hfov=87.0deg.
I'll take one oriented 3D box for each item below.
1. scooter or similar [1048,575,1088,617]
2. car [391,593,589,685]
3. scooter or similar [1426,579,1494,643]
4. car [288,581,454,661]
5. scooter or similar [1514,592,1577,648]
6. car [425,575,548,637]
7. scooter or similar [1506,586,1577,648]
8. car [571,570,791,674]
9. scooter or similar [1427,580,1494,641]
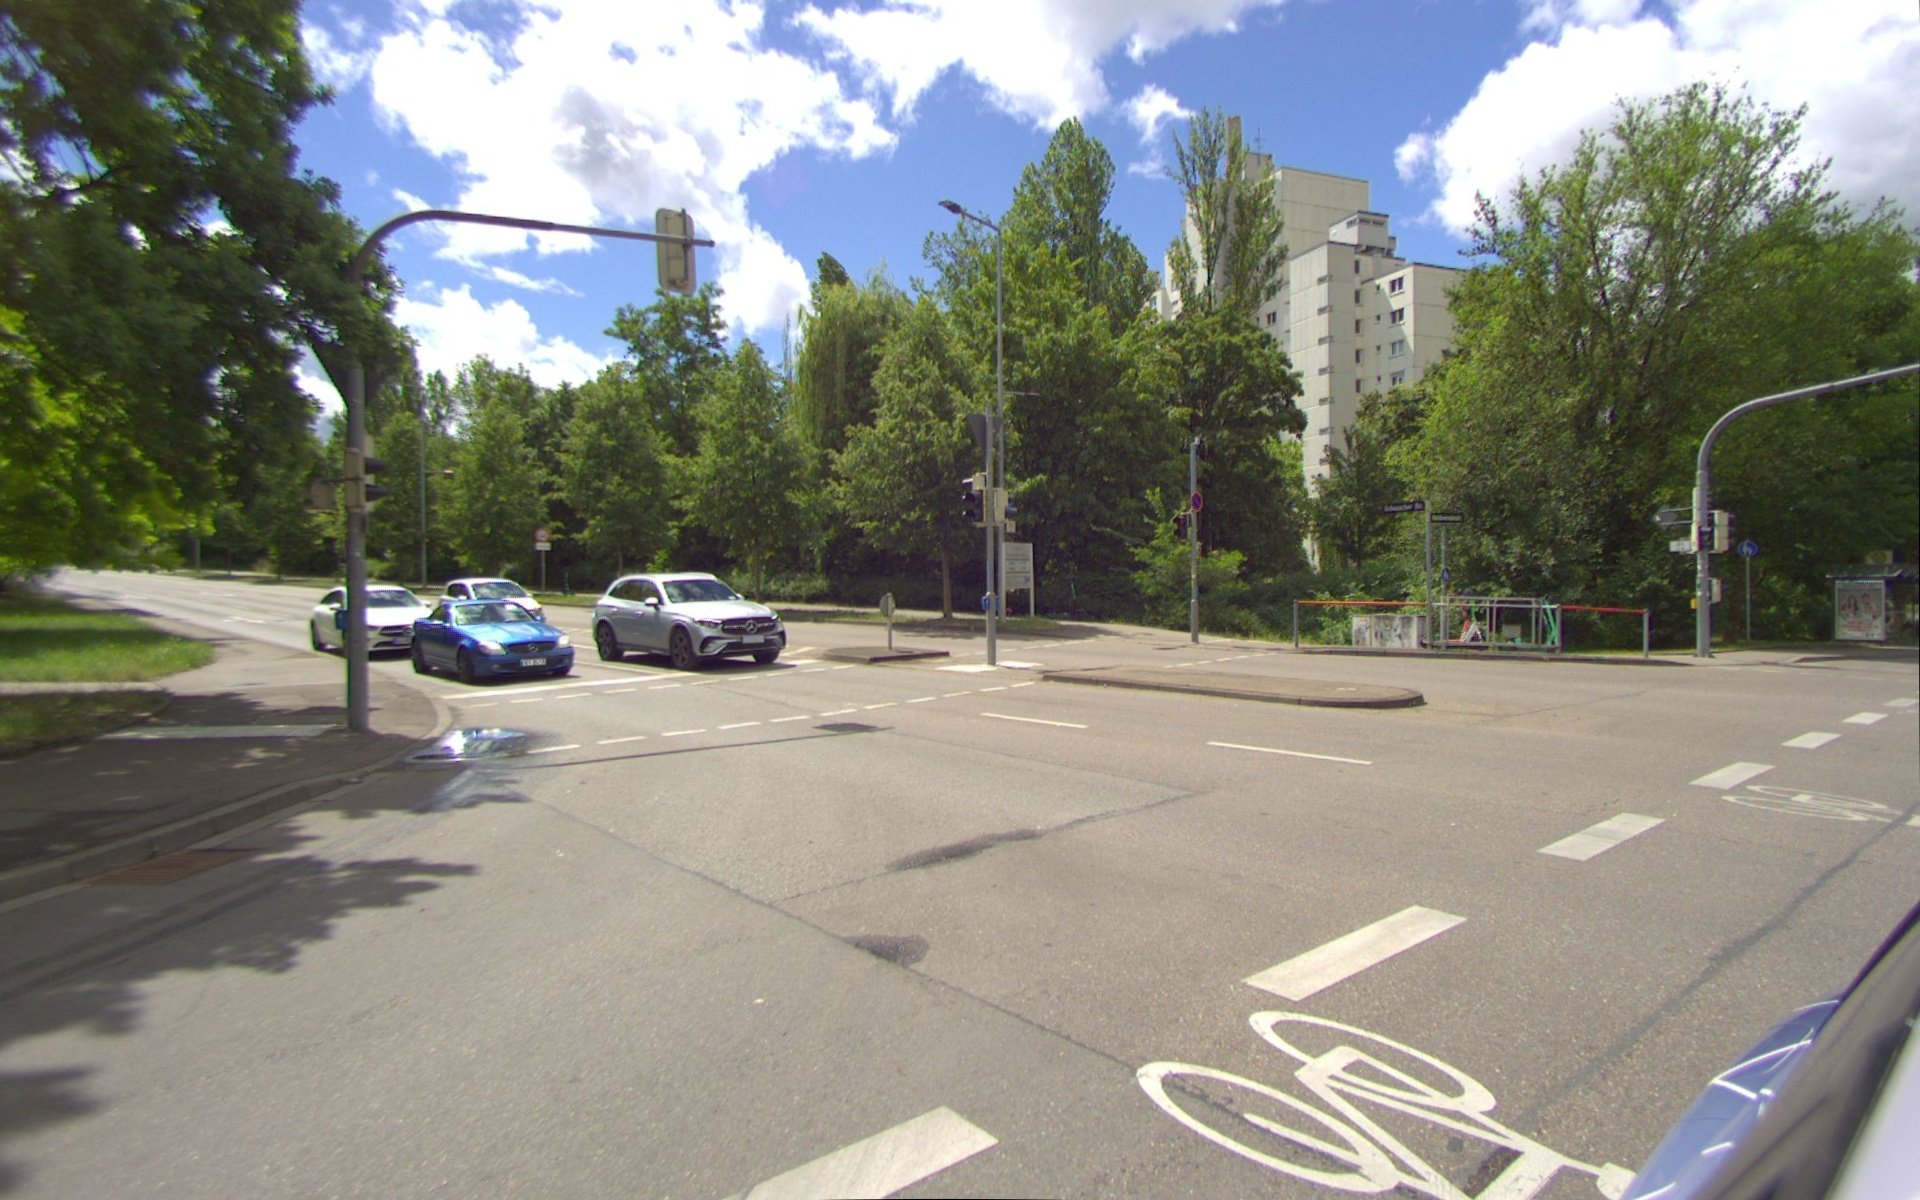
[{"bbox_3d":[3.129,-0.133,29.275,0.513,1.197,1.176,1,1,-33],"label":"scooter or similar"},{"bbox_3d":[-8.149,0.568,17.385,1.883,1.240,3.962,-3,4,-44],"label":"car"},{"bbox_3d":[10.072,0.204,20.407,1.198,1.250,0.475,1,1,26],"label":"scooter or similar"},{"bbox_3d":[-12.722,0.372,21.747,4.390,1.432,1.922,2,4,44],"label":"car"},{"bbox_3d":[14.361,0.507,24.840,1.195,1.310,0.531,-2,-5,19],"label":"scooter or similar"},{"bbox_3d":[-12.329,0.092,26.274,3.886,1.429,1.584,2,4,44],"label":"car"},{"bbox_3d":[11.979,0.334,20.872,0.440,1.210,1.172,1,1,-33],"label":"scooter or similar"},{"bbox_3d":[-5.249,0.287,18.665,1.892,1.611,4.645,-3,4,-44],"label":"car"},{"bbox_3d":[10.595,0.215,21.443,1.180,1.250,0.473,1,1,41],"label":"scooter or similar"}]
